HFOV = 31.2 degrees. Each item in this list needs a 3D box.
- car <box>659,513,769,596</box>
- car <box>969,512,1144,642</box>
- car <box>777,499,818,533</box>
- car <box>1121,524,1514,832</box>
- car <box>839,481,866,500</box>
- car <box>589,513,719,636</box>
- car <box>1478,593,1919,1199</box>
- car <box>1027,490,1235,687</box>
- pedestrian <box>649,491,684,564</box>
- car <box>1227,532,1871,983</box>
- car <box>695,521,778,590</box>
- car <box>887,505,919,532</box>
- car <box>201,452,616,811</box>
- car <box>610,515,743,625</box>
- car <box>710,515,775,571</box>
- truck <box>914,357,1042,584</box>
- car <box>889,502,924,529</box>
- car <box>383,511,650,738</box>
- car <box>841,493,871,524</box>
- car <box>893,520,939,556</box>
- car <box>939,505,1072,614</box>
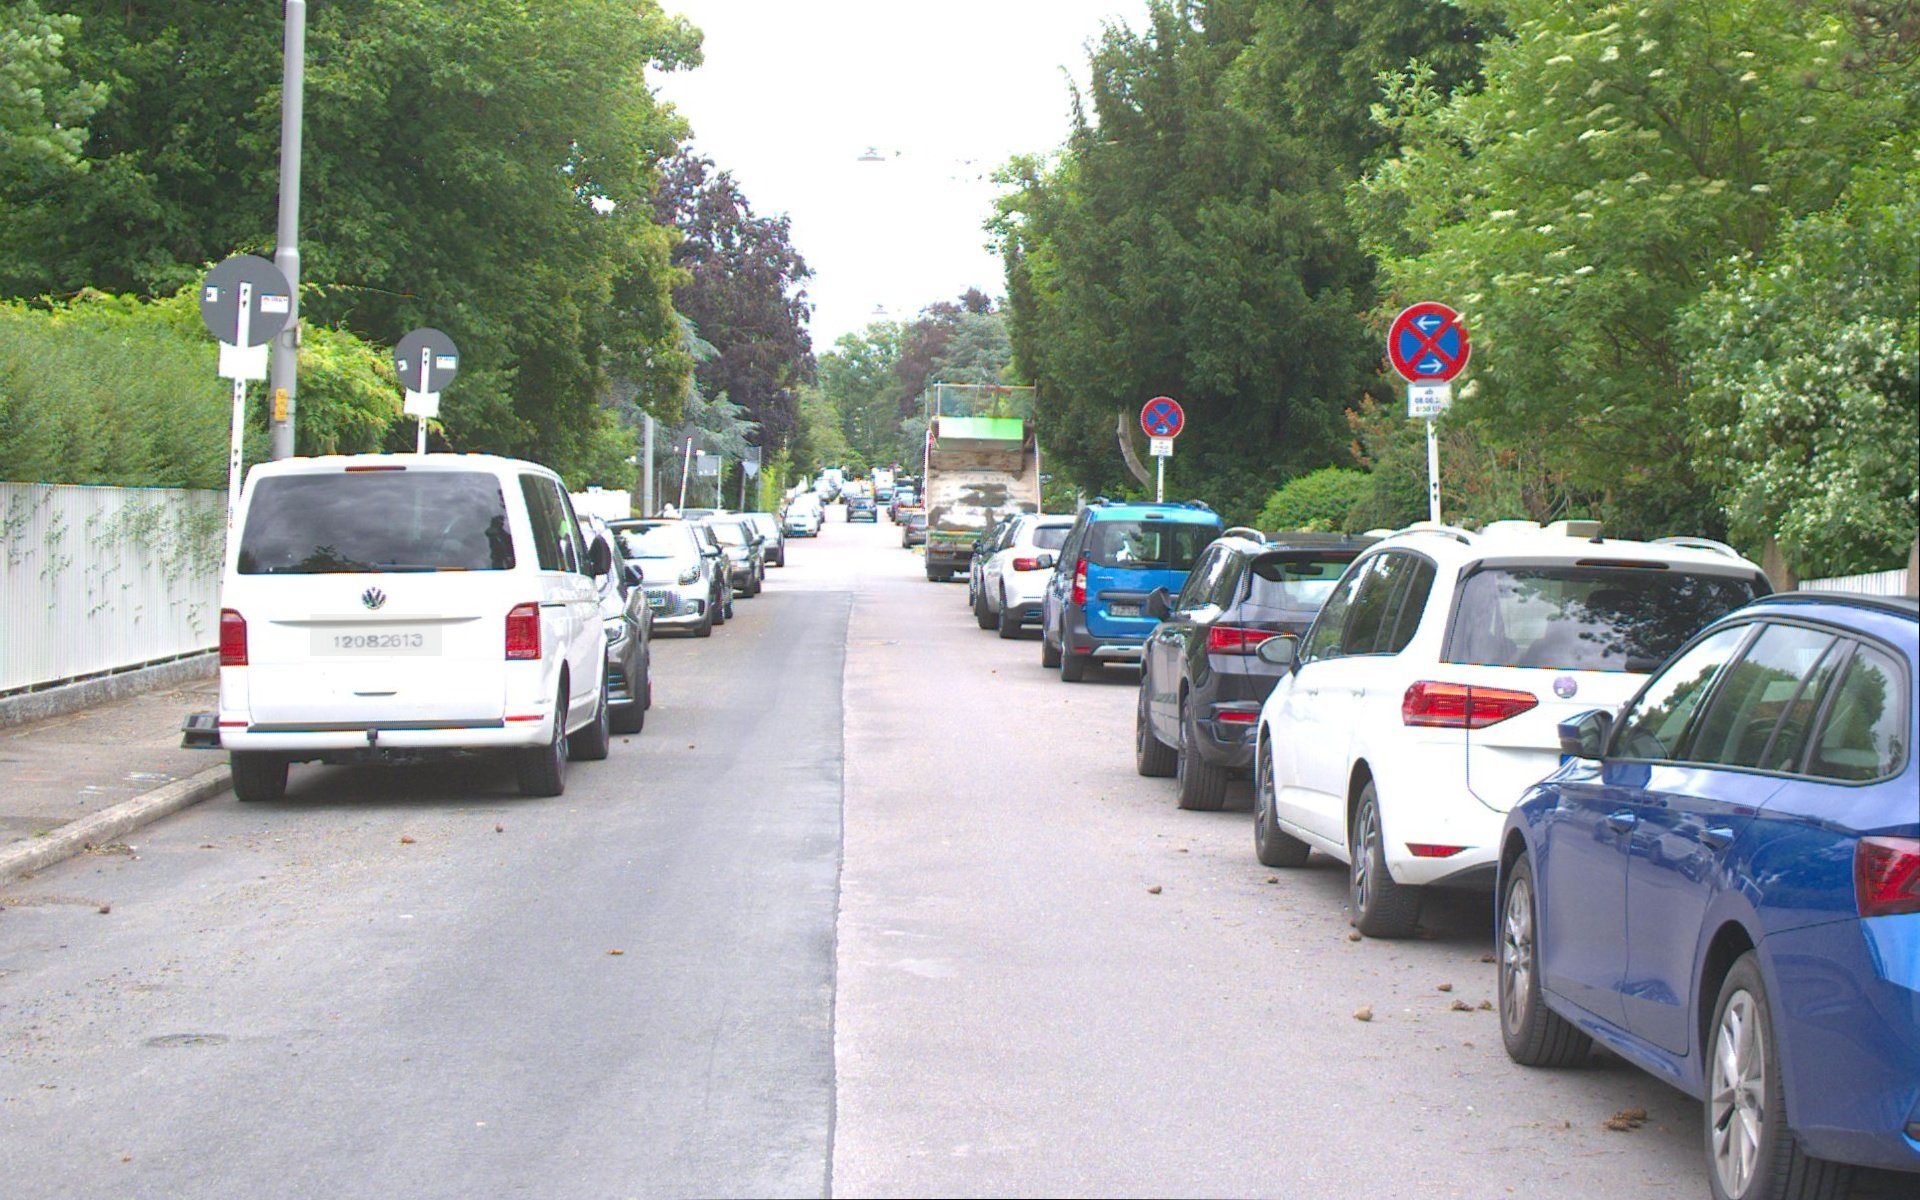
[{"bbox_3d":[-4.477,-0.861,63.111,1.641,1.417,4.550,-1,1,0],"label":"car"},{"bbox_3d":[1.244,-0.355,46.231,1.757,1.600,4.576,2,1,-5],"label":"car"},{"bbox_3d":[-7.847,-4.038,166.259,1.711,1.580,4.000,2,1,1],"label":"car"},{"bbox_3d":[2.059,0.403,20.907,1.750,1.602,4.076,3,1,-2],"label":"car"},{"bbox_3d":[-8.009,-8.197,257.441,1.728,1.402,3.803,1,1,2],"label":"car"},{"bbox_3d":[-4.027,-0.366,45.280,1.621,1.528,2.963,-1,2,-5],"label":"car"},{"bbox_3d":[2.514,0.755,8.665,1.647,1.453,4.052,2,0,-1],"label":"car"},{"bbox_3d":[1.697,-0.171,35.388,1.682,1.823,4.157,3,2,-2],"label":"car"},{"bbox_3d":[-8.226,-2.036,96.272,0.852,2.007,0.701,3,1,-6],"label":"pedestrian"},{"bbox_3d":[2.370,0.551,14.993,1.785,1.598,4.305,3,1,-3],"label":"car"},{"bbox_3d":[-4.845,-0.992,75.068,1.595,1.428,4.000,-1,1,-1],"label":"car"},{"bbox_3d":[-3.273,-4.734,198.942,1.789,1.524,3.734,2,1,0],"label":"car"},{"bbox_3d":[-3.218,0.139,20.944,1.854,1.907,4.620,-1,1,-1],"label":"car"},{"bbox_3d":[-4.080,-0.469,50.002,1.655,1.476,3.888,-1,2,-1],"label":"car"},{"bbox_3d":[-5.664,-1.510,89.883,1.637,1.390,3.990,-1,2,-3],"label":"car"},{"bbox_3d":[0.339,-2.839,76.754,2.524,4.732,7.188,2,1,-1],"label":"truck"},{"bbox_3d":[-2.968,-4.667,190.048,1.810,1.331,3.633,3,2,-3],"label":"car"},{"bbox_3d":[-3.354,0.120,26.694,1.790,1.617,4.344,0,1,-4],"label":"car"},{"bbox_3d":[-5.949,-5.233,195.977,1.633,1.695,3.495,2,2,-2],"label":"car"},{"bbox_3d":[-1.901,-2.657,146.545,1.778,1.484,4.001,1,1,-3],"label":"car"},{"bbox_3d":[0.655,-0.635,52.321,1.698,1.565,4.309,1,1,-3],"label":"car"}]
